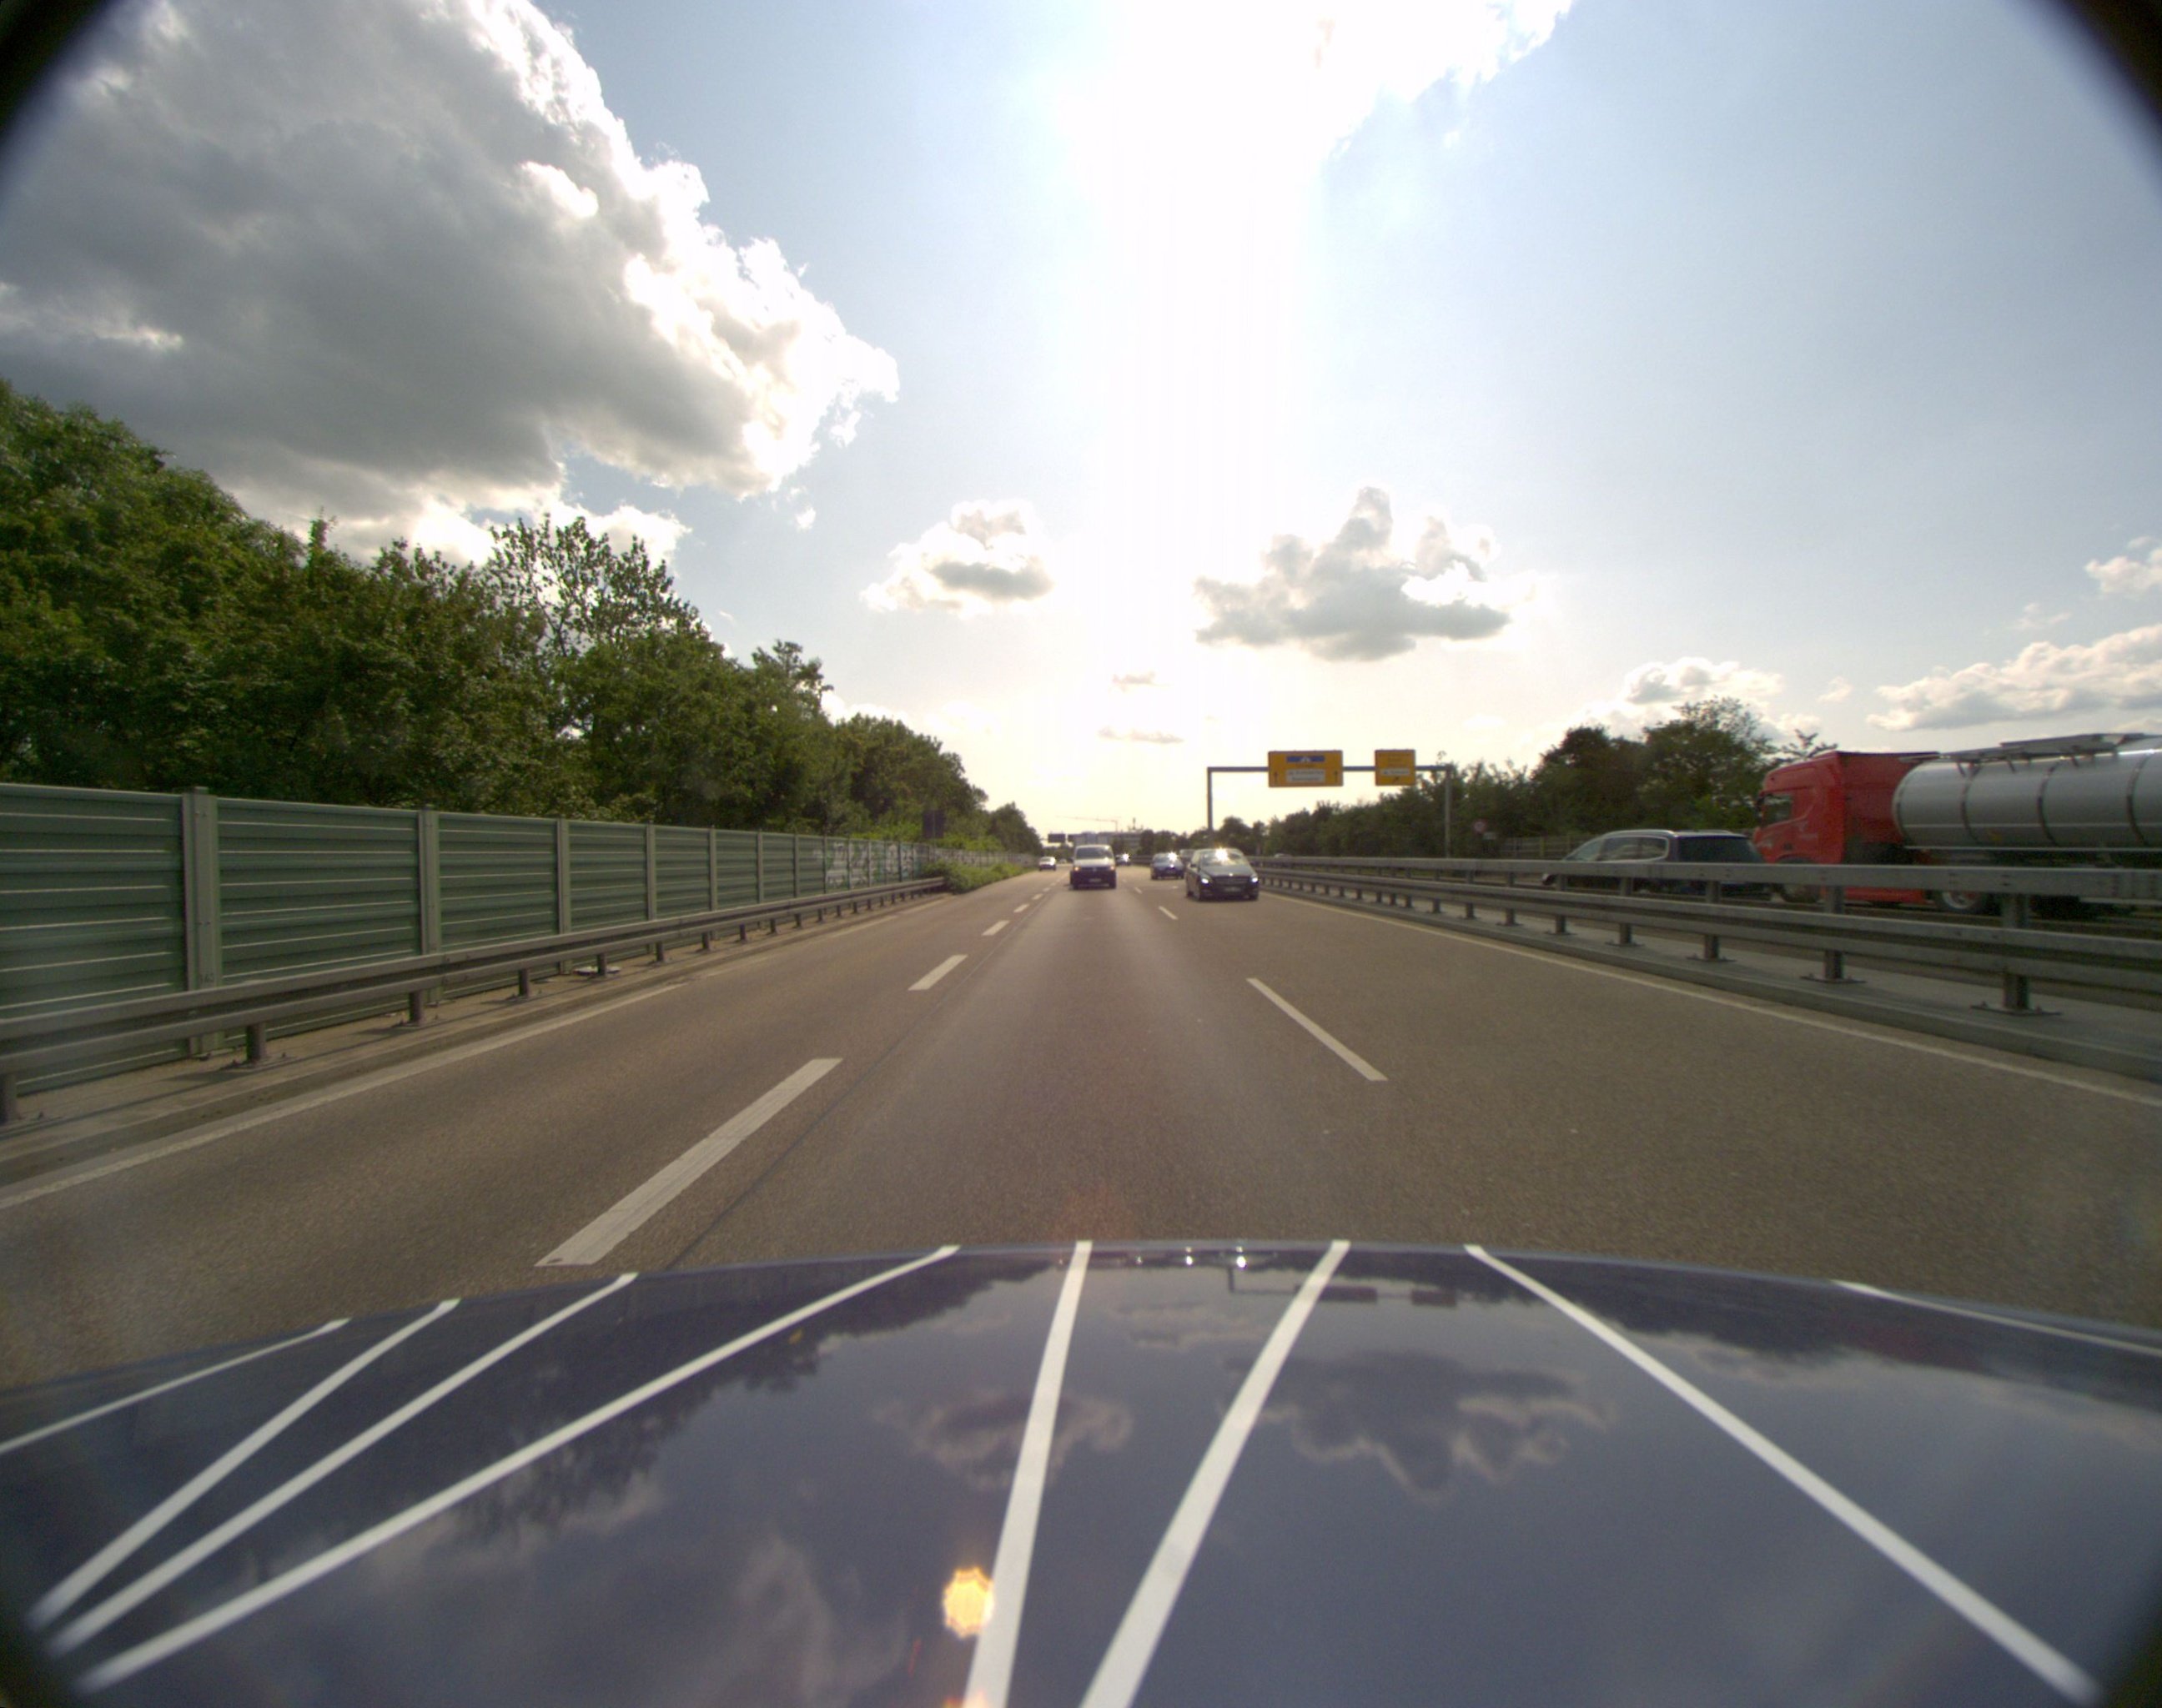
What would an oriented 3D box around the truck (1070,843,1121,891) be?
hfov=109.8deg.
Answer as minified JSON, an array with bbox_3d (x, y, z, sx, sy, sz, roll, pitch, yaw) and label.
[{"bbox_3d":[0.627,0.500,32.814,2.008,1.905,4.000,-1,0,1],"label":"truck"}]

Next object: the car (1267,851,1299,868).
[{"bbox_3d":[18.999,0.506,71.710,1.693,1.423,4.401,-2,1,-2],"label":"car"}]

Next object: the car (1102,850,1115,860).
[{"bbox_3d":[4.474,0.166,123.369,1.895,1.518,4.464,-2,1,1],"label":"car"}]

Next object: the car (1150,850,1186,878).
[{"bbox_3d":[4.827,0.509,42.483,1.625,1.404,3.771,-2,1,1],"label":"car"}]

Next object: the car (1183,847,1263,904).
[{"bbox_3d":[4.338,0.597,23.876,1.716,1.518,4.592,-2,1,1],"label":"car"}]

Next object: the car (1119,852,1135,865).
[{"bbox_3d":[5.841,0.507,95.924,1.779,1.518,4.464,-2,1,1],"label":"car"}]

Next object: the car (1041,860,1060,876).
[{"bbox_3d":[-3.192,1.462,80.289,1.768,1.404,3.771,-2,1,1],"label":"car"}]

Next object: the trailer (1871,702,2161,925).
[{"bbox_3d":[19.019,-0.697,11.570,2.691,3.648,11.028,-2,1,2],"label":"trailer"}]

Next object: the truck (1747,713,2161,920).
[{"bbox_3d":[19.224,-0.745,17.317,2.654,3.760,6.232,-2,1,1],"label":"truck"}]

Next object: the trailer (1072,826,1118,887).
[{"bbox_3d":[0.661,0.059,37.859,1.998,2.723,5.966,-2,1,1],"label":"trailer"}]

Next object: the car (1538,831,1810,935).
[{"bbox_3d":[11.743,0.473,15.564,1.998,1.740,4.596,-2,1,1],"label":"car"}]

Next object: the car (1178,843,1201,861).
[{"bbox_3d":[12.928,-0.304,91.031,2.085,1.978,5.227,0,2,1],"label":"car"}]
